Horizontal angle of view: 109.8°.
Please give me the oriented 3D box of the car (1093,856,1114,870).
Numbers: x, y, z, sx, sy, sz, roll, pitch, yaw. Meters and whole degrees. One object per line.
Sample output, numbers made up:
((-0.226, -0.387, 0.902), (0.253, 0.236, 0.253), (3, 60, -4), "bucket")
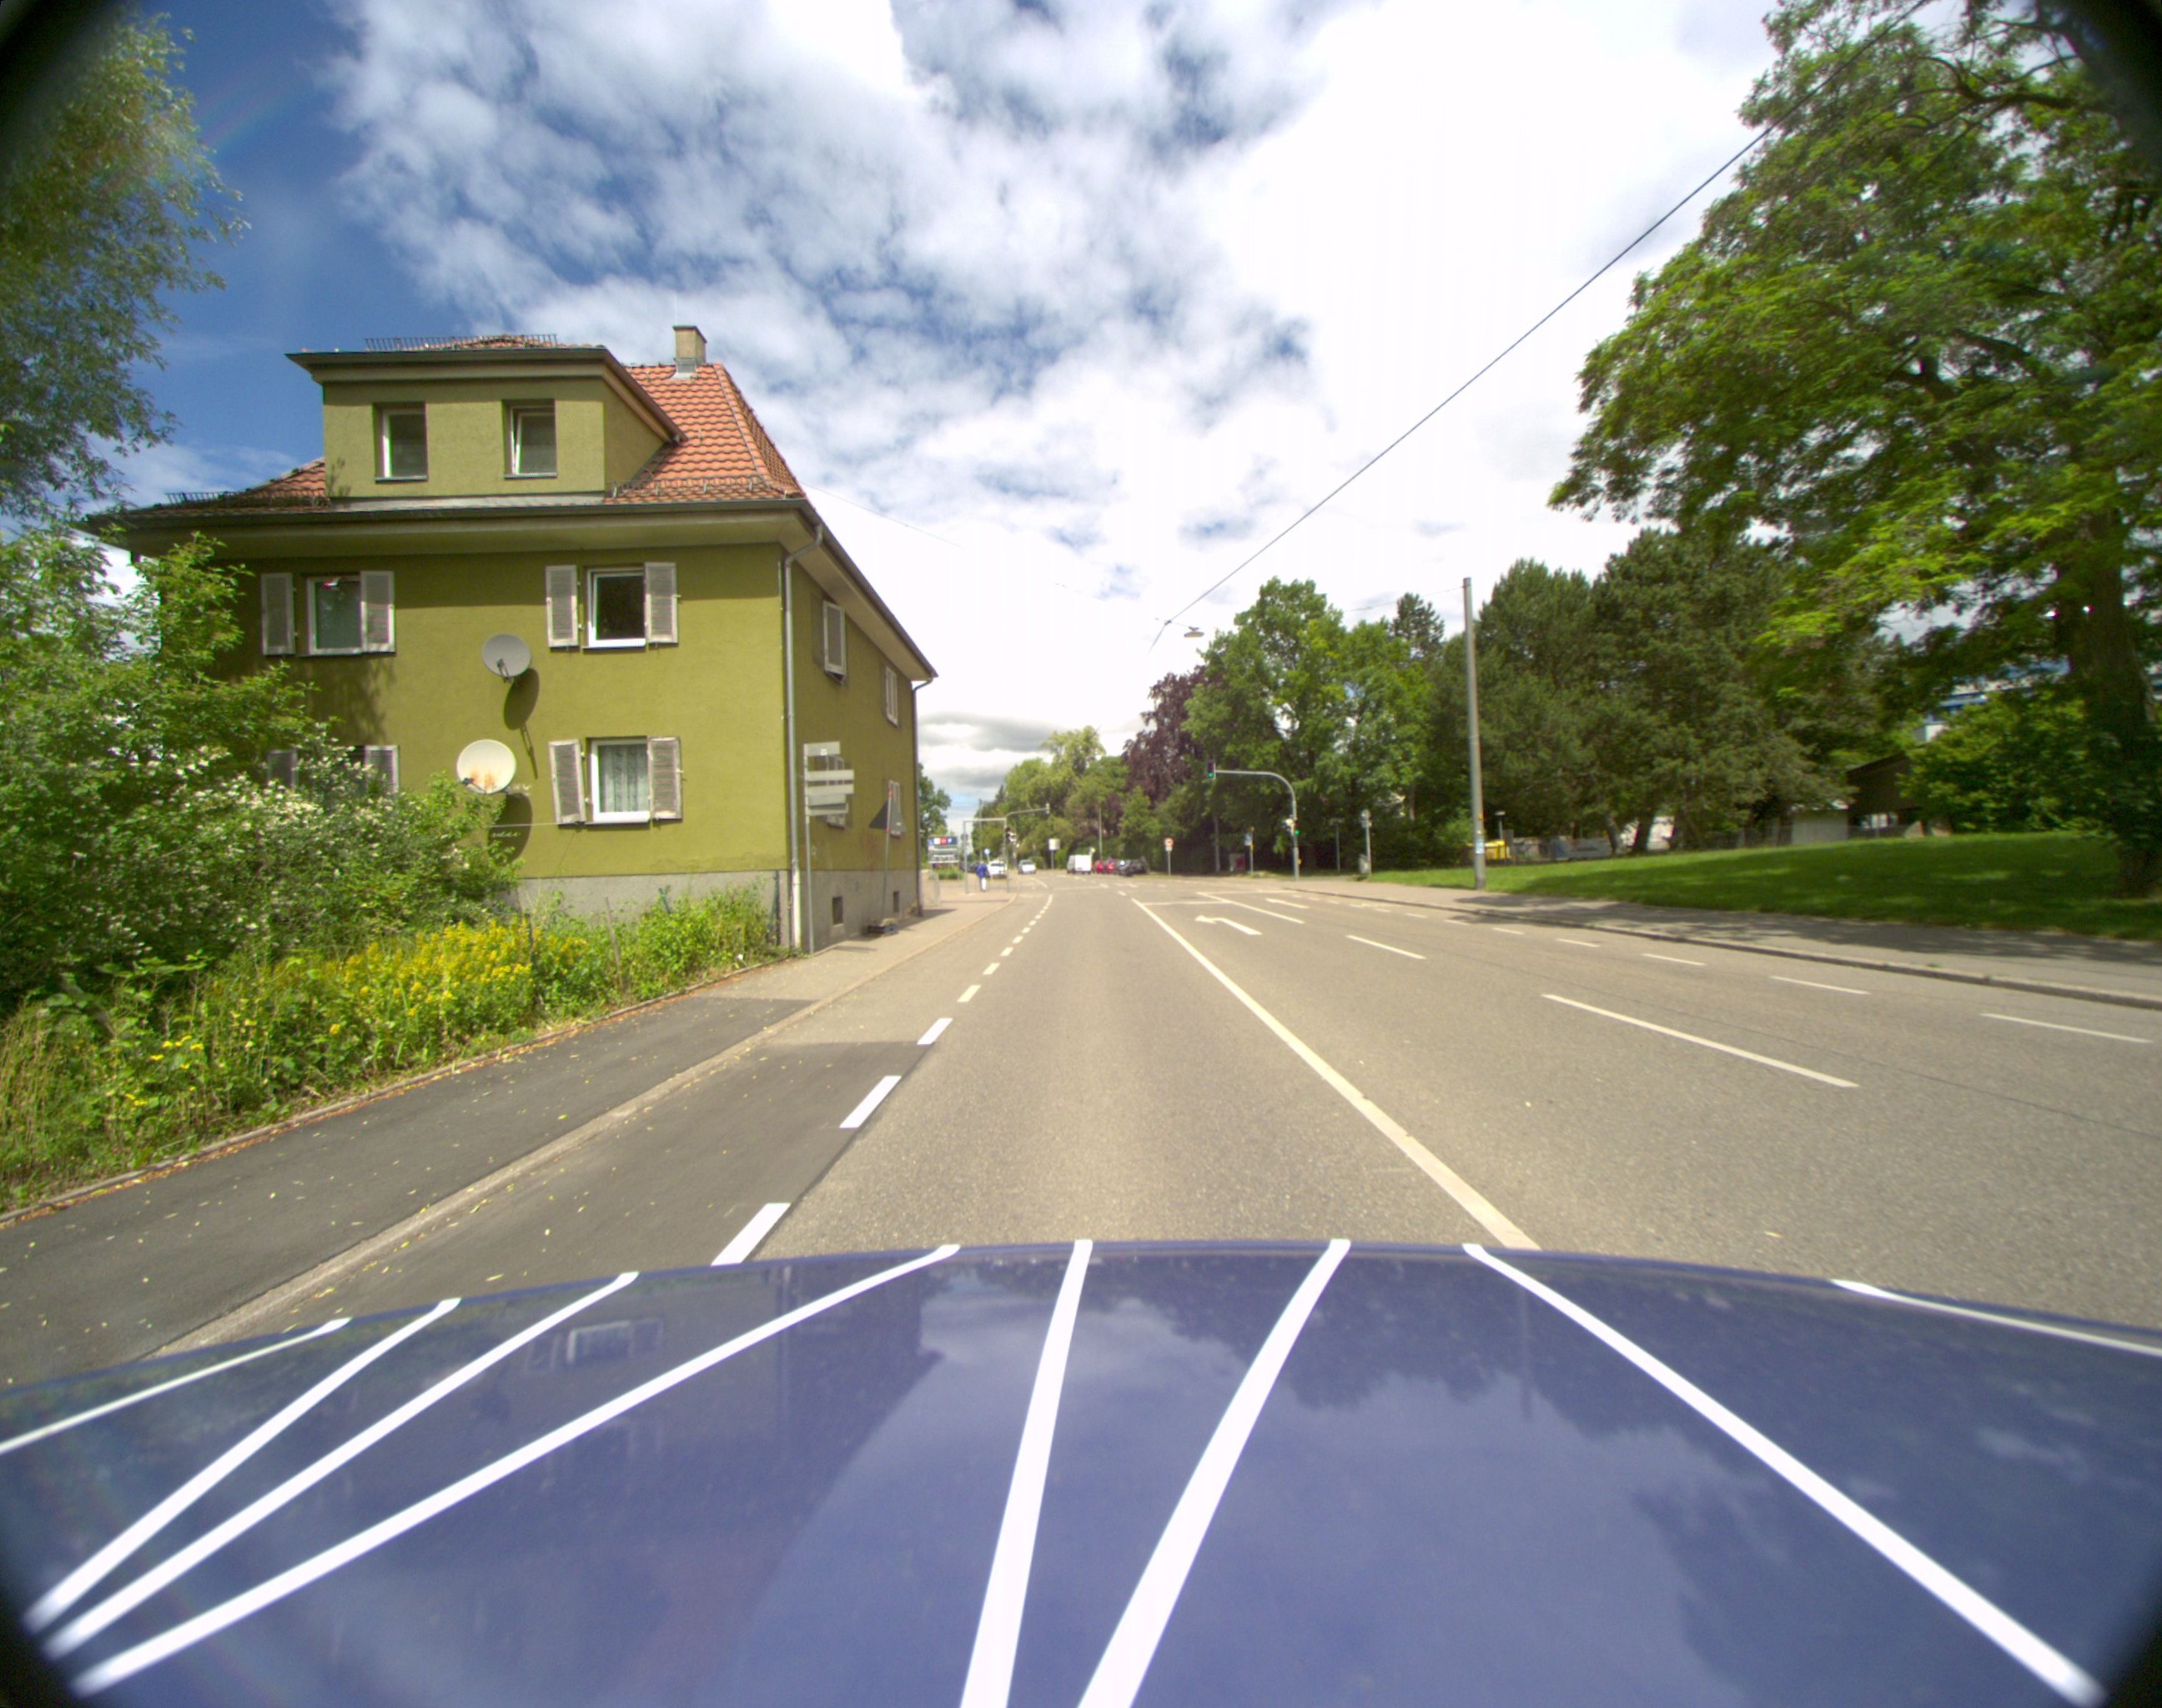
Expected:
((2.412, 0.991, 81.990), (1.531, 1.358, 3.371), (-3, 1, -12), "car")

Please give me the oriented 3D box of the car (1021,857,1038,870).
((-5.993, 1.088, 88.581), (1.552, 1.418, 3.853), (-3, 0, -9), "car")

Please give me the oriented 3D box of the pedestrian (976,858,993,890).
((-4.941, 1.021, 38.959), (0.826, 1.563, 0.987), (-1, 1, -4), "pedestrian")

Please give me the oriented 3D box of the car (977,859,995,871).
((-12.222, 1.405, 97.292), (1.707, 1.522, 3.995), (-3, 0, -15), "car")

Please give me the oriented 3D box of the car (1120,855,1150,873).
((4.751, 0.898, 67.880), (1.688, 1.407, 4.398), (-3, 1, -9), "car")

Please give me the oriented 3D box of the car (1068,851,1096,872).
((0.060, 0.746, 79.400), (2.000, 2.011, 5.347), (-1, 0, -10), "car")

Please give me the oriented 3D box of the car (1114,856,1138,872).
((4.294, 0.954, 72.572), (1.560, 1.404, 3.191), (-3, 1, -9), "car")

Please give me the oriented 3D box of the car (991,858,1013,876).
((-7.217, 1.151, 68.985), (1.796, 1.522, 3.918), (1, 0, -8), "car")

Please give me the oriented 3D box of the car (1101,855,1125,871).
((3.242, 0.904, 76.968), (1.524, 1.469, 3.321), (-3, 0, -12), "car")
